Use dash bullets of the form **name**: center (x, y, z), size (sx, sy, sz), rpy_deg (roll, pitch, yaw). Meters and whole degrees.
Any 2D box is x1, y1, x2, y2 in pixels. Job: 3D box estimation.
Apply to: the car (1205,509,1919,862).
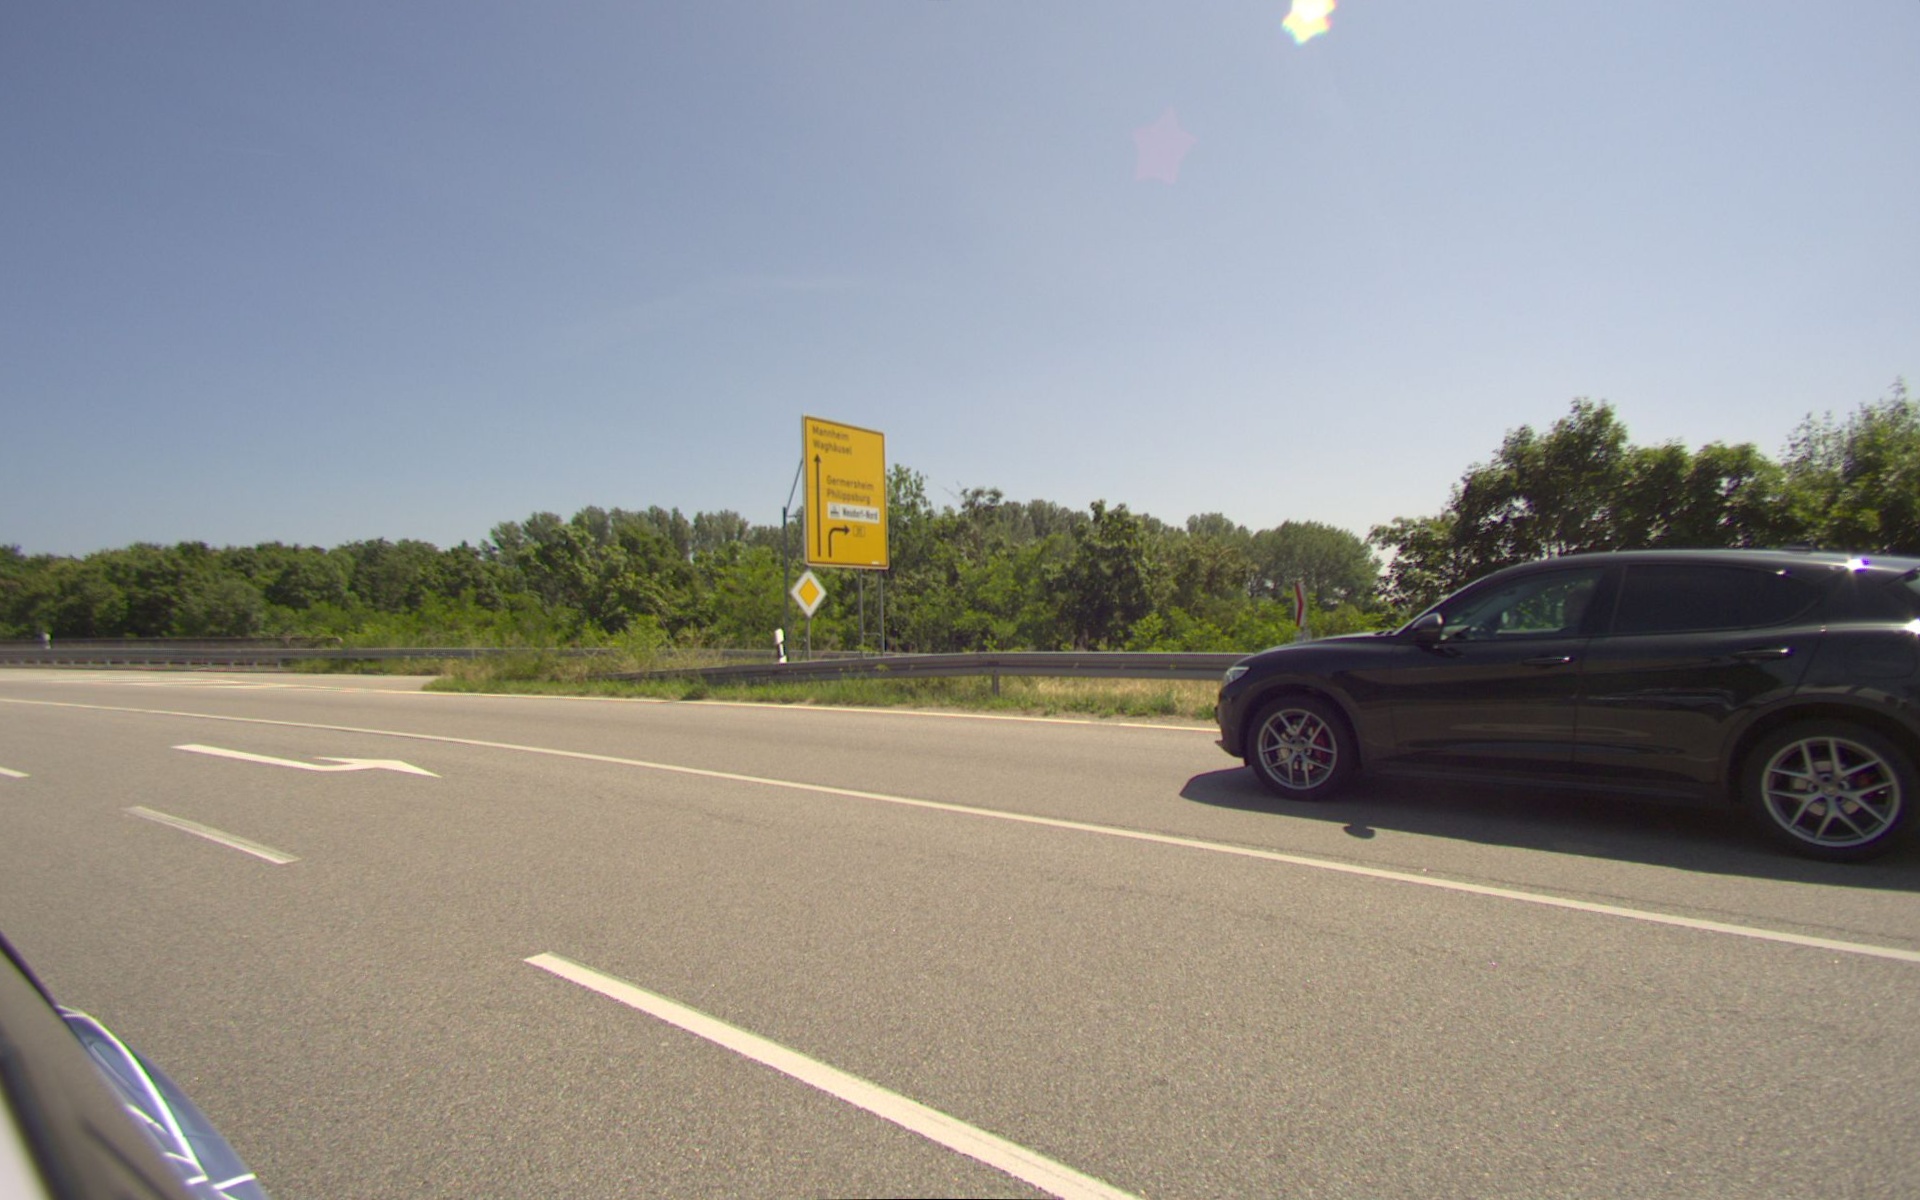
- **car**: center (4.048, 0.414, 6.364), size (4.566, 1.670, 1.694), rpy_deg (-2, 1, 42)
